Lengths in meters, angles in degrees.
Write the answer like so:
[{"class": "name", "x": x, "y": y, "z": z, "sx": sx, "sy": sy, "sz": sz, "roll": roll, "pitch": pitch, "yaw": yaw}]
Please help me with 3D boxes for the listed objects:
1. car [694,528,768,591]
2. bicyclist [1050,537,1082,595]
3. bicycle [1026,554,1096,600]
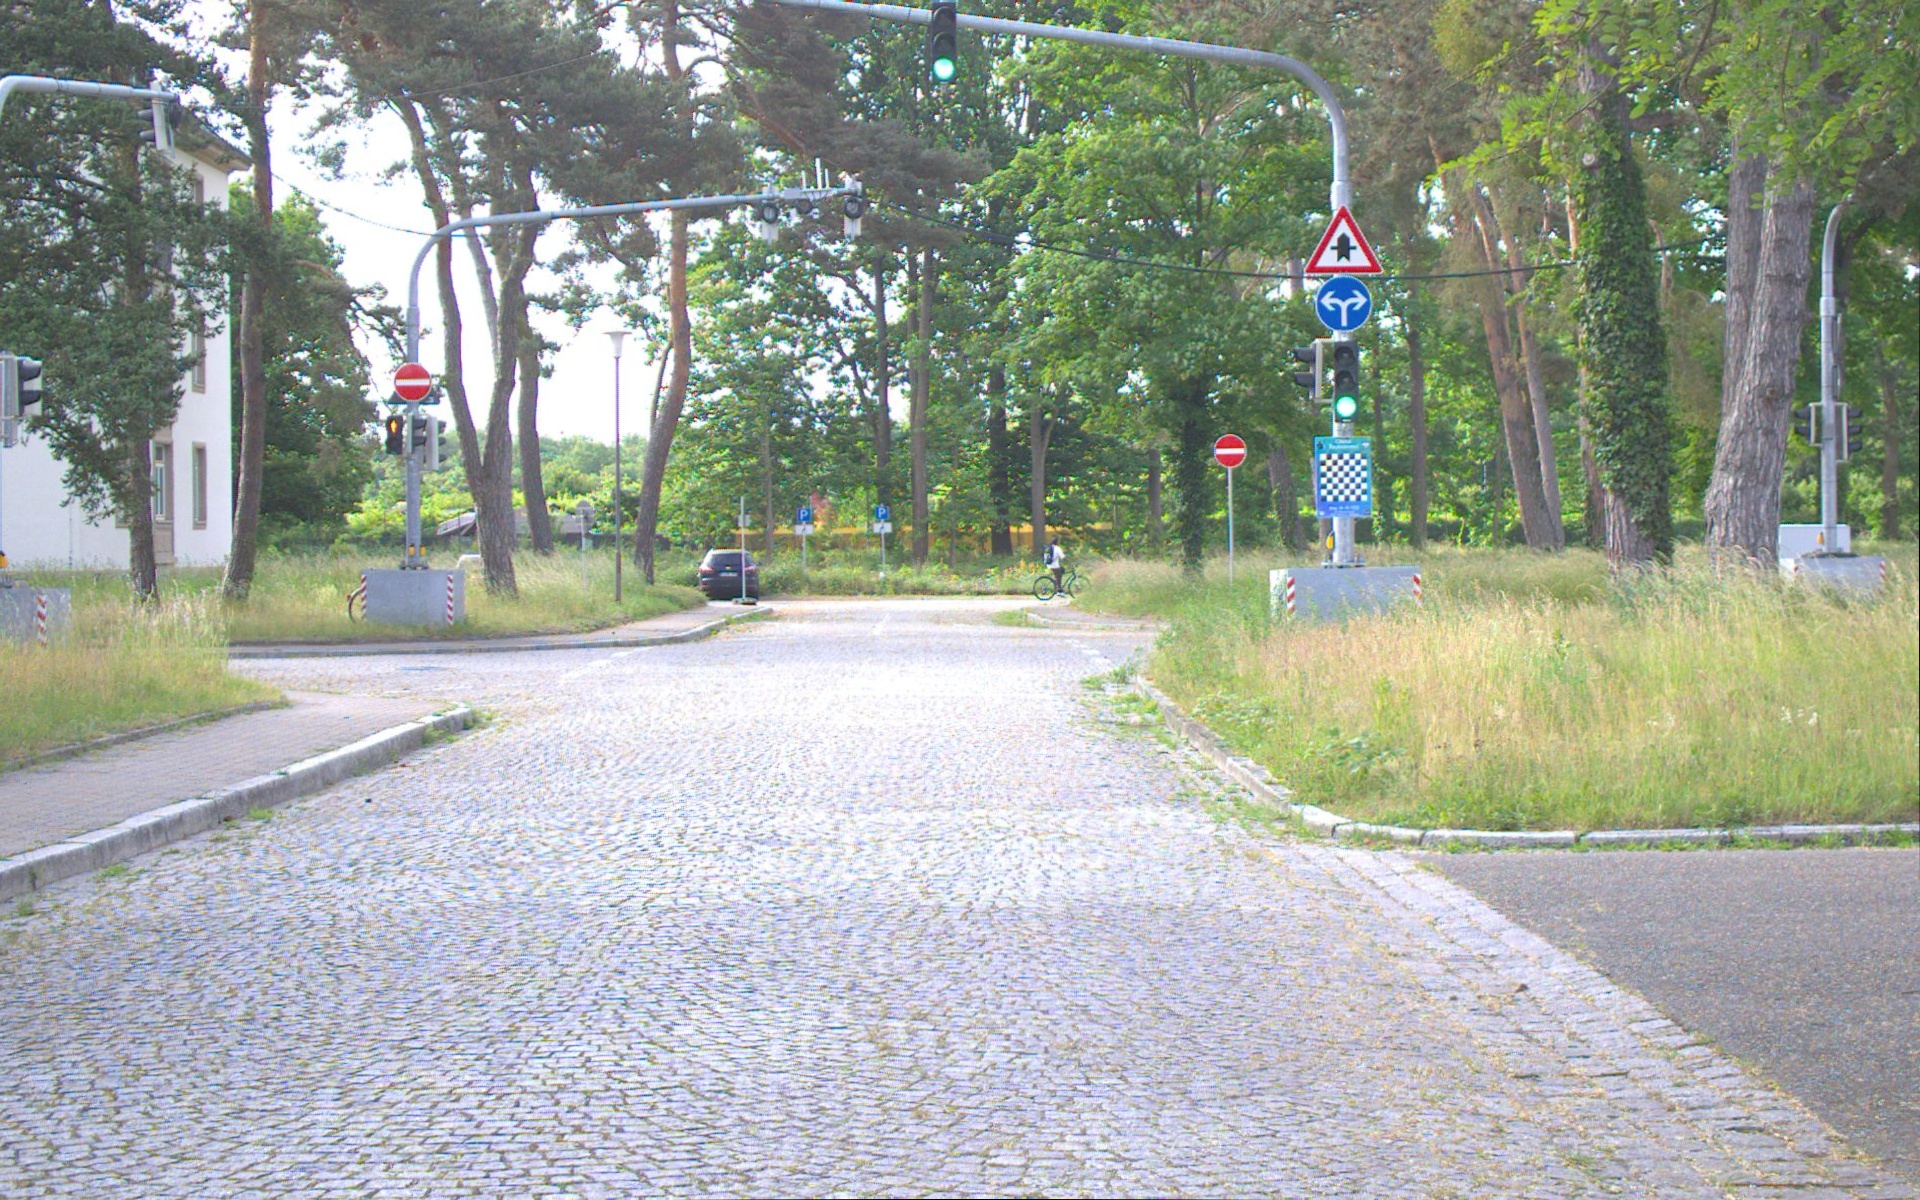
[{"class": "car", "x": -6.926, "y": -1.245, "z": 104.293, "sx": 2.056, "sy": 1.840, "sz": 4.000, "roll": -1, "pitch": 1, "yaw": -1}, {"class": "bicyclist", "x": 3.072, "y": -0.976, "z": 99.731, "sx": 0.748, "sy": 1.665, "sz": 0.526, "roll": 1, "pitch": 0, "yaw": -24}, {"class": "bicycle", "x": 2.941, "y": -0.669, "z": 99.698, "sx": 1.968, "sy": 1.316, "sz": 0.518, "roll": 1, "pitch": 0, "yaw": -23}]
